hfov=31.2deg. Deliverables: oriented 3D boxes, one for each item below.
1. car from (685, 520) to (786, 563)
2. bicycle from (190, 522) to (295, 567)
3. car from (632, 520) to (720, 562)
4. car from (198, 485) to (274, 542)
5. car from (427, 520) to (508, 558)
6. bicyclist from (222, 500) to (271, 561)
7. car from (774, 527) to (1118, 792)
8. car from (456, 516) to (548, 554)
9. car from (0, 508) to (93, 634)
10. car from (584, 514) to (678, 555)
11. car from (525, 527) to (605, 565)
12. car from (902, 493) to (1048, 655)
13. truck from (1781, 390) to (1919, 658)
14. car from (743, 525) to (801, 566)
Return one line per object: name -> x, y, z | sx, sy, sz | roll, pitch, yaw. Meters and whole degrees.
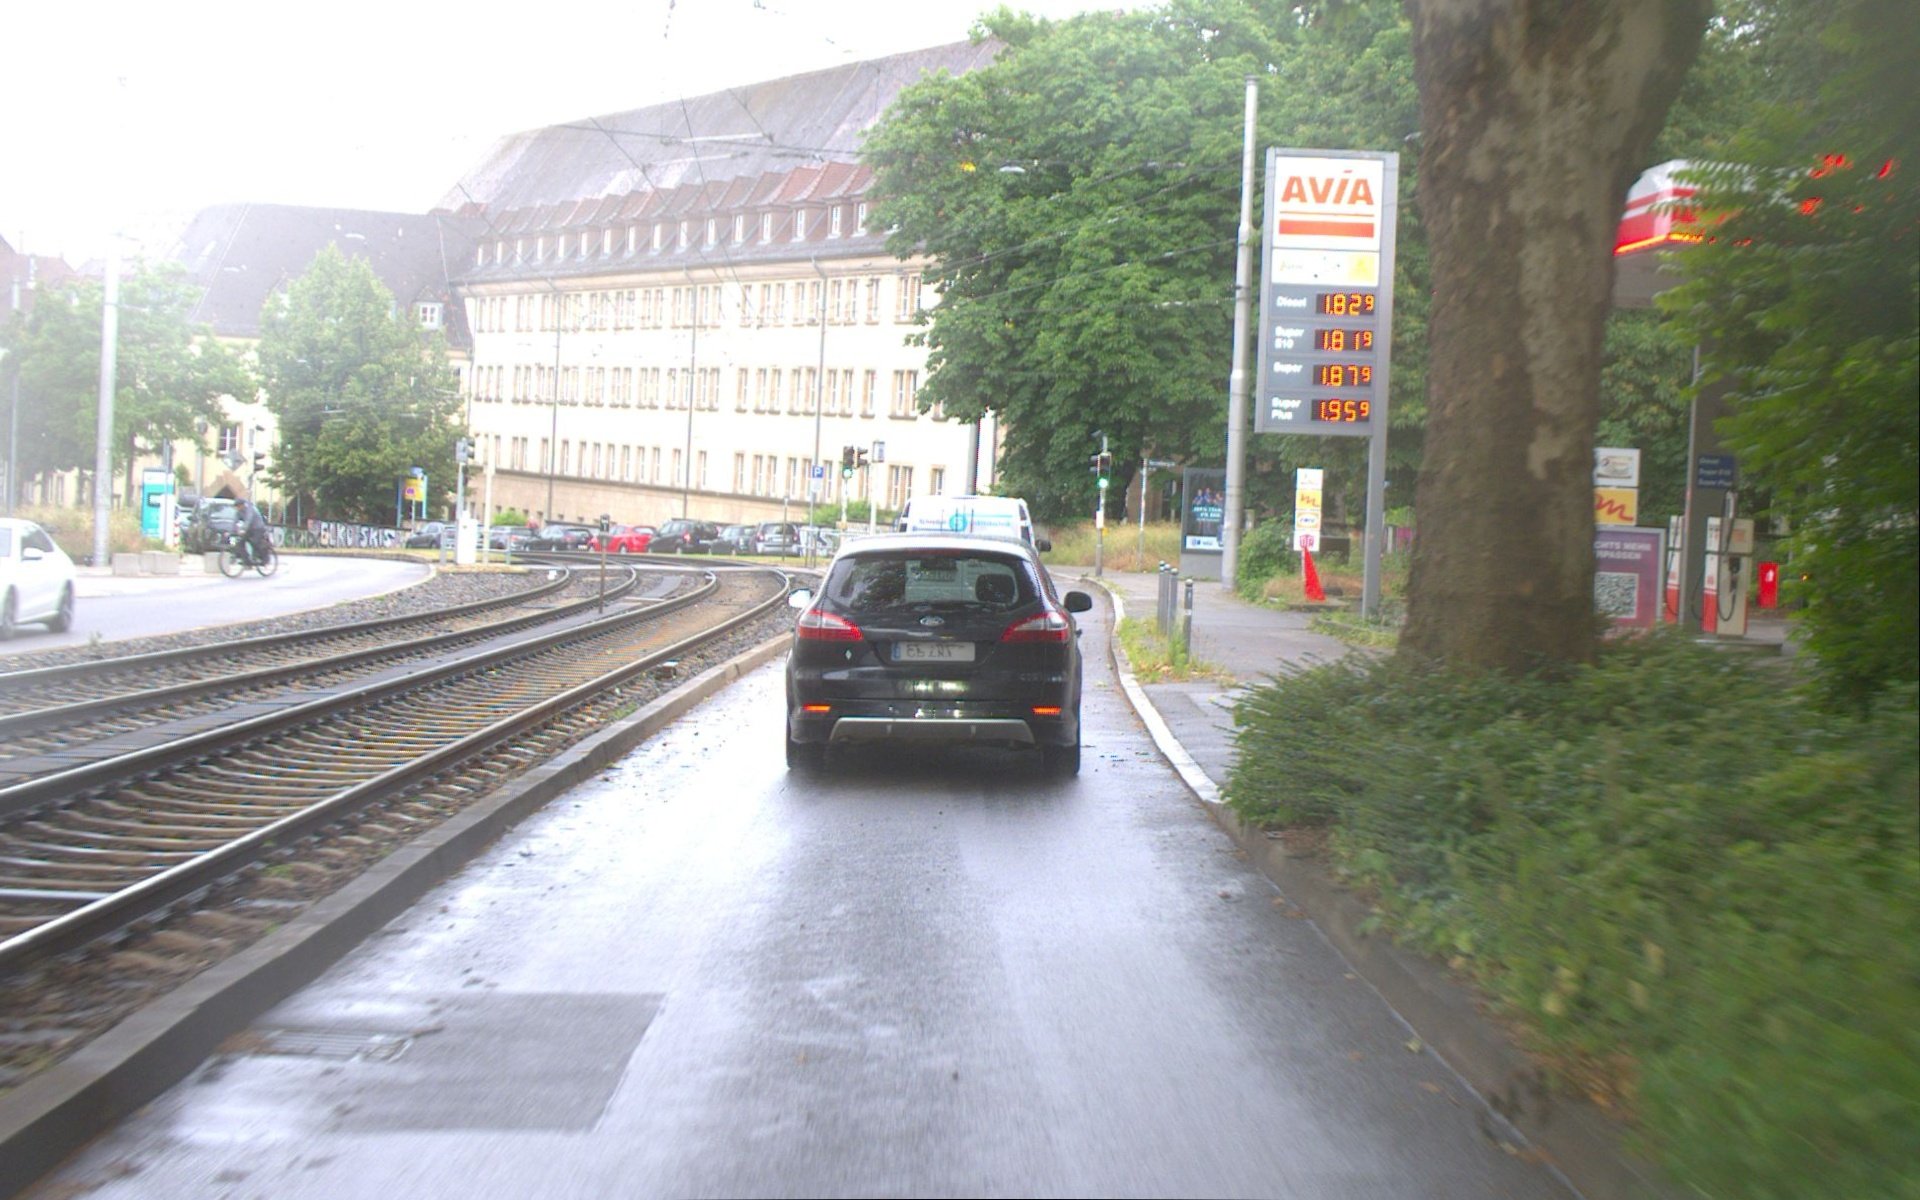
car -> -8.593, -2.238, 131.389 | 1.994, 1.537, 4.000 | 2, 1, -35
bicycle -> -15.734, -1.224, 75.429 | 2.099, 0.940, 0.815 | 0, 1, -38
car -> -11.275, -2.330, 136.250 | 1.581, 1.537, 4.000 | 2, 1, -35
car -> -20.776, -2.476, 98.783 | 1.993, 1.537, 4.001 | 2, 1, -11
car -> -21.903, -2.716, 152.767 | 1.993, 1.537, 4.000 | 2, 1, -34
bicyclist -> -15.651, -1.527, 75.413 | 0.772, 1.309, 0.791 | 0, 2, -38
car -> -0.160, 0.317, 22.221 | 1.933, 1.448, 4.318 | 3, 1, -2
car -> -19.839, -2.824, 148.897 | 1.994, 1.537, 3.998 | 2, 1, -42
car -> -12.118, -0.393, 41.994 | 1.799, 1.477, 4.840 | 2, 1, 0
car -> -13.483, -2.678, 140.772 | 1.994, 1.537, 3.999 | 2, 1, -37
car -> -16.715, -2.303, 145.287 | 1.993, 1.537, 4.001 | 0, 2, -28
car -> 0.162, -0.358, 45.918 | 1.740, 2.007, 3.904 | 2, 1, -2
truck -> 14.415, -1.049, 48.066 | 3.902, 3.505, 6.981 | 1, 1, -2
car -> -7.000, -2.030, 127.728 | 1.657, 1.471, 3.645 | 2, 1, -10
